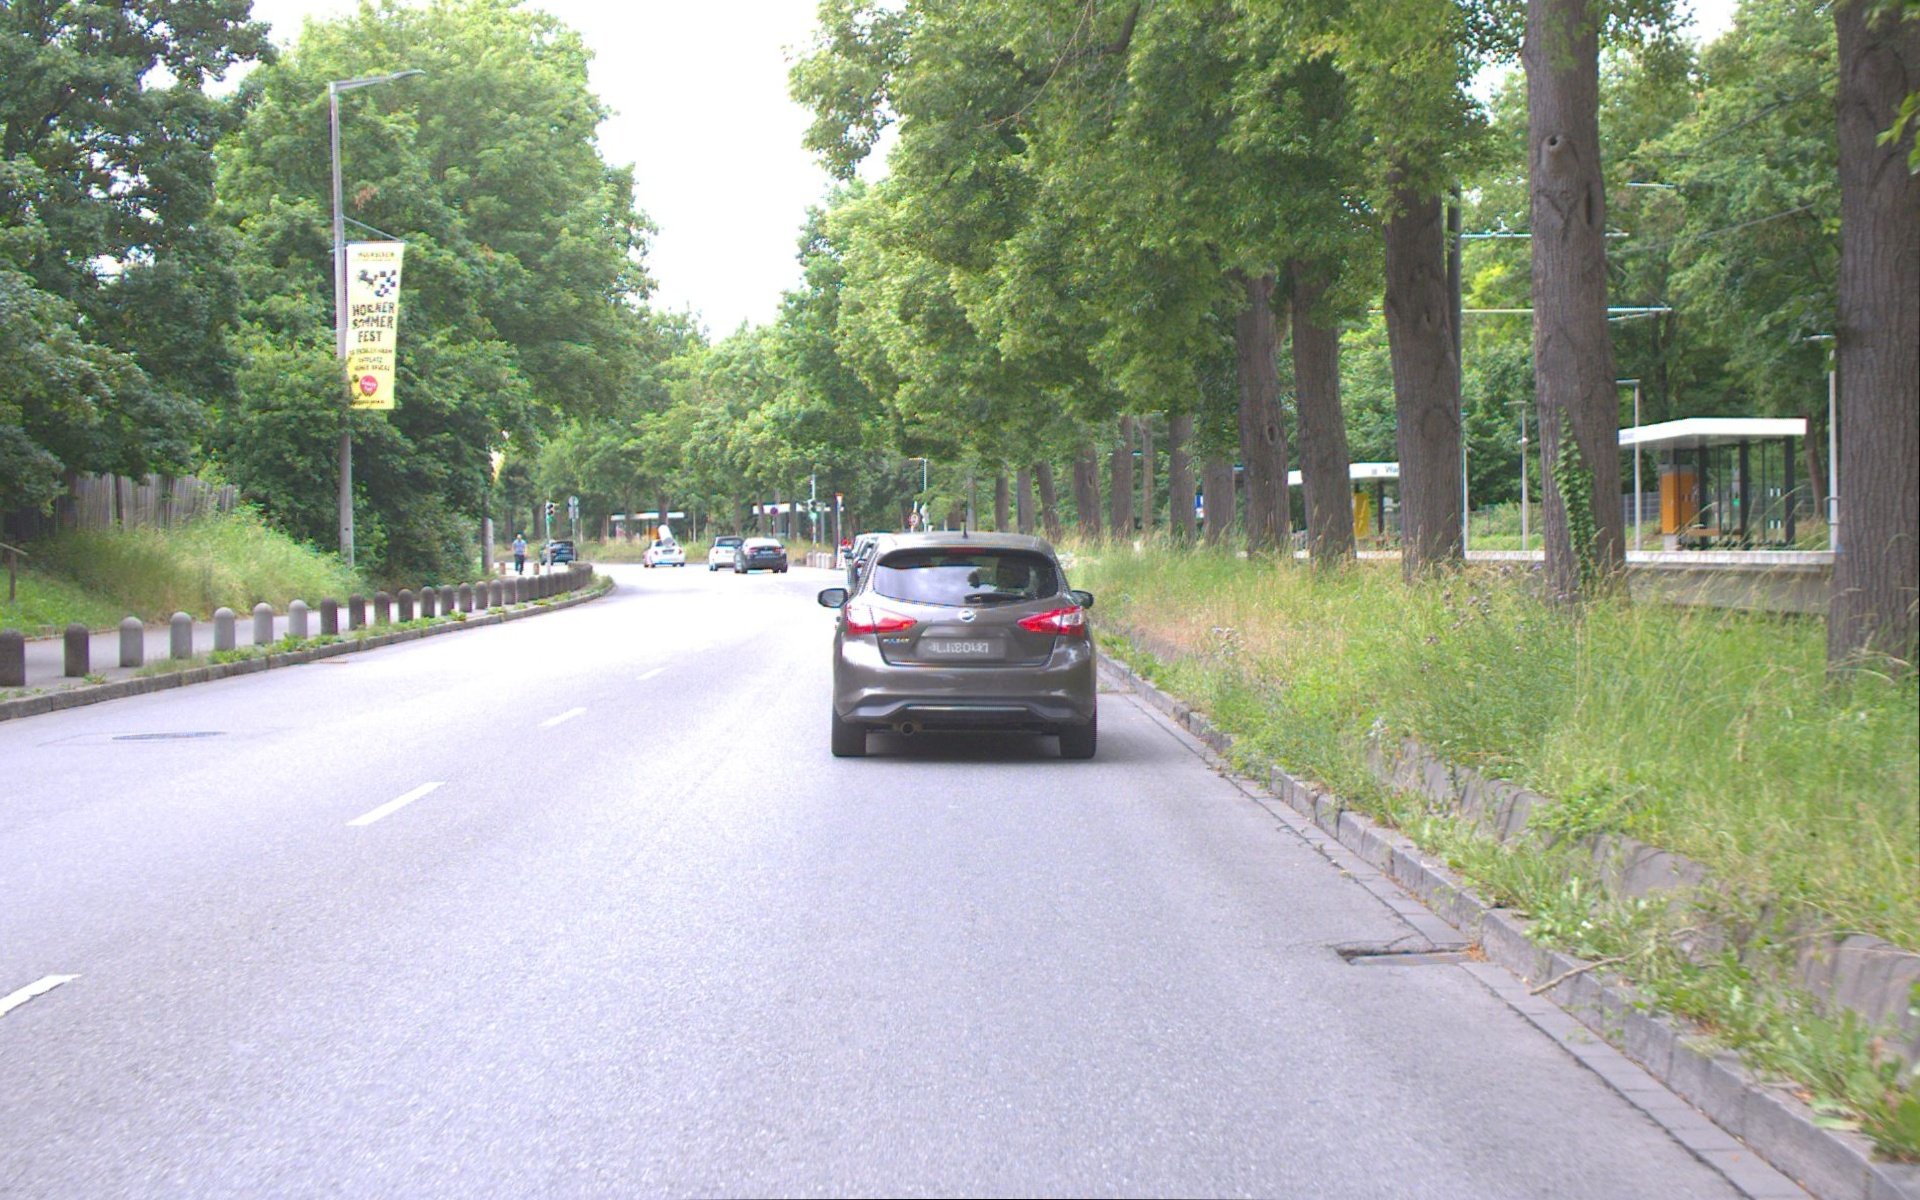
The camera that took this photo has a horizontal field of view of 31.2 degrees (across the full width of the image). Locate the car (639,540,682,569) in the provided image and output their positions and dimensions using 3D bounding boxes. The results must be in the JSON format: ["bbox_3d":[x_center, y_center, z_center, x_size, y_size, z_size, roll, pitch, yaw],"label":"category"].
[{"bbox_3d":[-15.345,-2.347,175.919,1.561,1.436,3.553,0,1,-15],"label":"car"}]

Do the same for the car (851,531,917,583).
[{"bbox_3d":[-2.214,-1.263,99.488,1.561,1.436,3.553,1,1,-7],"label":"car"}]

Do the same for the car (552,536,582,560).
[{"bbox_3d":[-24.028,-3.168,209.970,1.561,1.436,3.553,1,1,-11],"label":"car"}]

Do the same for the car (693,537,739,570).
[{"bbox_3d":[-10.921,-2.088,153.908,1.561,1.436,3.553,1,1,-12],"label":"car"}]

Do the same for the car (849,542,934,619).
[{"bbox_3d":[-1.448,-0.422,72.217,1.730,1.532,3.552,1,1,-2],"label":"car"}]

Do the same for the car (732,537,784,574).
[{"bbox_3d":[-8.159,-1.808,138.785,1.561,1.436,3.553,1,1,-12],"label":"car"}]

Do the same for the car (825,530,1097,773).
[{"bbox_3d":[-0.041,0.297,23.870,1.730,1.532,3.552,1,1,-2],"label":"car"}]
